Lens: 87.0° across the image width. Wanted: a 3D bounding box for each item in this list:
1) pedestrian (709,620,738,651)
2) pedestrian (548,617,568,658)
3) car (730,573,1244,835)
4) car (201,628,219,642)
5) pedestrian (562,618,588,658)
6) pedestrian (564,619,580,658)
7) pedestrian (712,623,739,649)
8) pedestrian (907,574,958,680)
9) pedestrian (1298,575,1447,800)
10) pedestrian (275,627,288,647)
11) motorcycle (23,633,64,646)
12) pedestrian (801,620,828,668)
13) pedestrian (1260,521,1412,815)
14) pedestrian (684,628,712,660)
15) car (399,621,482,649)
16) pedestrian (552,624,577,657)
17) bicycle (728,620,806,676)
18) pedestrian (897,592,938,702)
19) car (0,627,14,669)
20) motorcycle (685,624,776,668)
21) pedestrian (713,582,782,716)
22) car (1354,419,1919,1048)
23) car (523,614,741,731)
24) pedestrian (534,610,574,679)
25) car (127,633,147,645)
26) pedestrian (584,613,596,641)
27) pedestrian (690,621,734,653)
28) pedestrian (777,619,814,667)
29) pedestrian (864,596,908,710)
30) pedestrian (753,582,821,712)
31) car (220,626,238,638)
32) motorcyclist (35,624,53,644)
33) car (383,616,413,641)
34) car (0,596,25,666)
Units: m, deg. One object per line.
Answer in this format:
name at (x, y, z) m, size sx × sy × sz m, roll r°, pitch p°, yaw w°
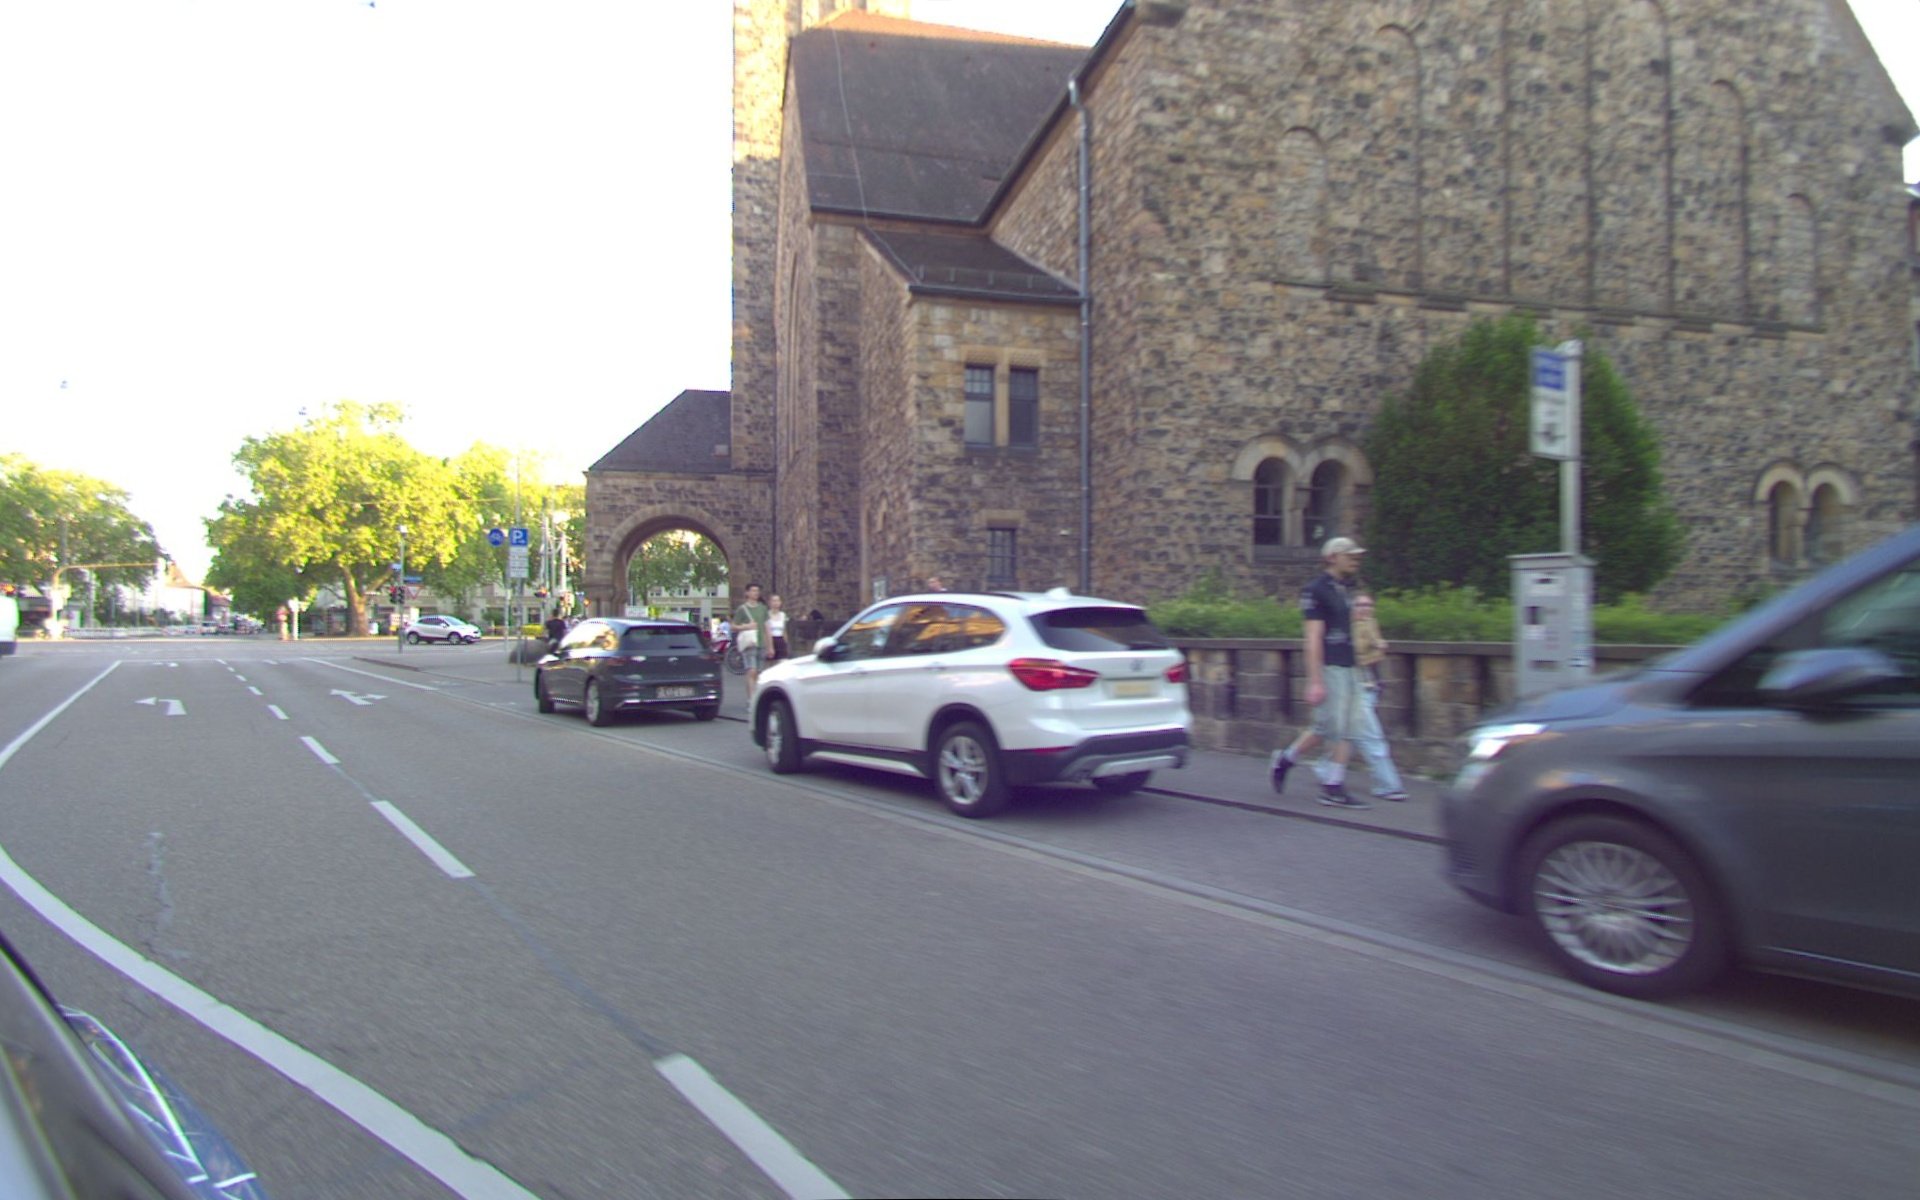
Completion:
pedestrian at (-8.360, 1.245, 35.760) m, size 0.822 × 1.084 × 0.645 m, roll 0°, pitch -2°, yaw 12°
pedestrian at (-14.765, 1.376, 37.188) m, size 0.542 × 1.464 × 0.558 m, roll 0°, pitch -2°, yaw -3°
car at (-0.063, 0.695, 8.531) m, size 1.847 × 1.604 × 4.476 m, roll 1°, pitch -2°, yaw -39°
car at (-108.948, 5.122, 146.981) m, size 1.960 × 1.971 × 4.607 m, roll 1°, pitch -2°, yaw -35°
pedestrian at (-13.611, 1.344, 35.809) m, size 0.693 × 1.417 × 0.632 m, roll 0°, pitch -2°, yaw -3°
pedestrian at (-14.264, 1.397, 37.170) m, size 0.396 × 1.417 × 0.548 m, roll 0°, pitch -2°, yaw -3°
pedestrian at (-8.449, 1.294, 36.462) m, size 0.732 × 0.923 × 0.645 m, roll 0°, pitch -2°, yaw 12°
pedestrian at (-0.421, 0.402, 15.158) m, size 0.641 × 1.557 × 0.587 m, roll 0°, pitch -1°, yaw -15°
pedestrian at (3.077, 0.617, 7.571) m, size 0.575 × 1.563 × 0.840 m, roll 0°, pitch -1°, yaw -41°
pedestrian at (-55.234, 3.023, 82.361) m, size 0.734 × 1.641 × 0.662 m, roll 0°, pitch -2°, yaw -21°
motorcycle at (-69.825, 2.988, 77.108) m, size 0.620 × 0.929 × 2.264 m, roll -1°, pitch -2°, yaw 26°
pedestrian at (-3.218, 0.964, 22.326) m, size 0.490 × 1.056 × 0.609 m, roll 0°, pitch -2°, yaw -18°
pedestrian at (2.626, 0.453, 7.101) m, size 0.575 × 1.920 × 0.804 m, roll 1°, pitch -2°, yaw -41°
pedestrian at (-8.315, 1.391, 32.148) m, size 0.644 × 0.975 × 0.558 m, roll -1°, pitch -2°, yaw 19°
car at (-30.086, 2.026, 58.690) m, size 3.949 × 1.570 × 1.839 m, roll 0°, pitch -2°, yaw 5°
pedestrian at (-16.571, 1.681, 42.455) m, size 0.791 × 1.385 × 0.700 m, roll 0°, pitch -2°, yaw -4°
bicycle at (-4.423, 1.095, 23.236) m, size 1.703 × 1.258 × 0.438 m, roll 1°, pitch -2°, yaw -24°
pedestrian at (-0.655, 0.728, 15.727) m, size 0.543 × 1.687 × 0.413 m, roll -1°, pitch -1°, yaw 12°
car at (-34.561, 1.574, 33.562) m, size 1.980 × 1.464 × 4.236 m, roll 1°, pitch -2°, yaw 13°
motorcycle at (-6.569, 1.303, 29.029) m, size 2.382 × 1.134 × 0.824 m, roll -2°, pitch -1°, yaw -34°
pedestrian at (-3.110, 0.699, 14.781) m, size 0.639 × 1.893 × 0.892 m, roll 1°, pitch -2°, yaw -41°
car at (4.136, 0.388, 2.975) m, size 1.967 × 1.881 × 5.301 m, roll 1°, pitch -2°, yaw -36°
car at (-4.934, 0.961, 14.824) m, size 1.760 × 1.446 × 4.325 m, roll 1°, pitch -2°, yaw -37°
pedestrian at (-10.452, 1.140, 26.063) m, size 0.691 × 1.738 × 0.706 m, roll -2°, pitch -2°, yaw 42°
car at (-113.867, 5.430, 140.073) m, size 1.766 × 1.592 × 4.010 m, roll 1°, pitch -2°, yaw -35°
pedestrian at (-25.638, 1.871, 70.136) m, size 0.699 × 1.861 × 1.163 m, roll 0°, pitch -2°, yaw -18°
pedestrian at (-8.599, 1.277, 35.101) m, size 1.320 × 1.102 × 0.682 m, roll 0°, pitch -2°, yaw 13°
pedestrian at (-3.715, 0.966, 22.861) m, size 0.516 × 1.056 × 0.733 m, roll -1°, pitch -2°, yaw 22°
pedestrian at (-1.076, 0.766, 14.721) m, size 0.543 × 1.634 × 0.413 m, roll -1°, pitch -1°, yaw 12°
pedestrian at (-2.596, 0.692, 15.141) m, size 0.565 × 1.870 × 0.990 m, roll 1°, pitch -2°, yaw -41°
car at (-102.735, 4.498, 142.257) m, size 1.798 × 1.586 × 4.010 m, roll 0°, pitch -2°, yaw -34°
motorcyclist at (-69.833, 2.587, 77.122) m, size 0.620 × 1.531 × 0.822 m, roll -1°, pitch -2°, yaw 27°
car at (-48.076, 2.448, 86.658) m, size 1.836 × 2.029 × 3.823 m, roll 1°, pitch -2°, yaw -23°
car at (-36.787, 1.024, 35.298) m, size 2.173 × 2.571 × 5.864 m, roll 2°, pitch -2°, yaw 11°
